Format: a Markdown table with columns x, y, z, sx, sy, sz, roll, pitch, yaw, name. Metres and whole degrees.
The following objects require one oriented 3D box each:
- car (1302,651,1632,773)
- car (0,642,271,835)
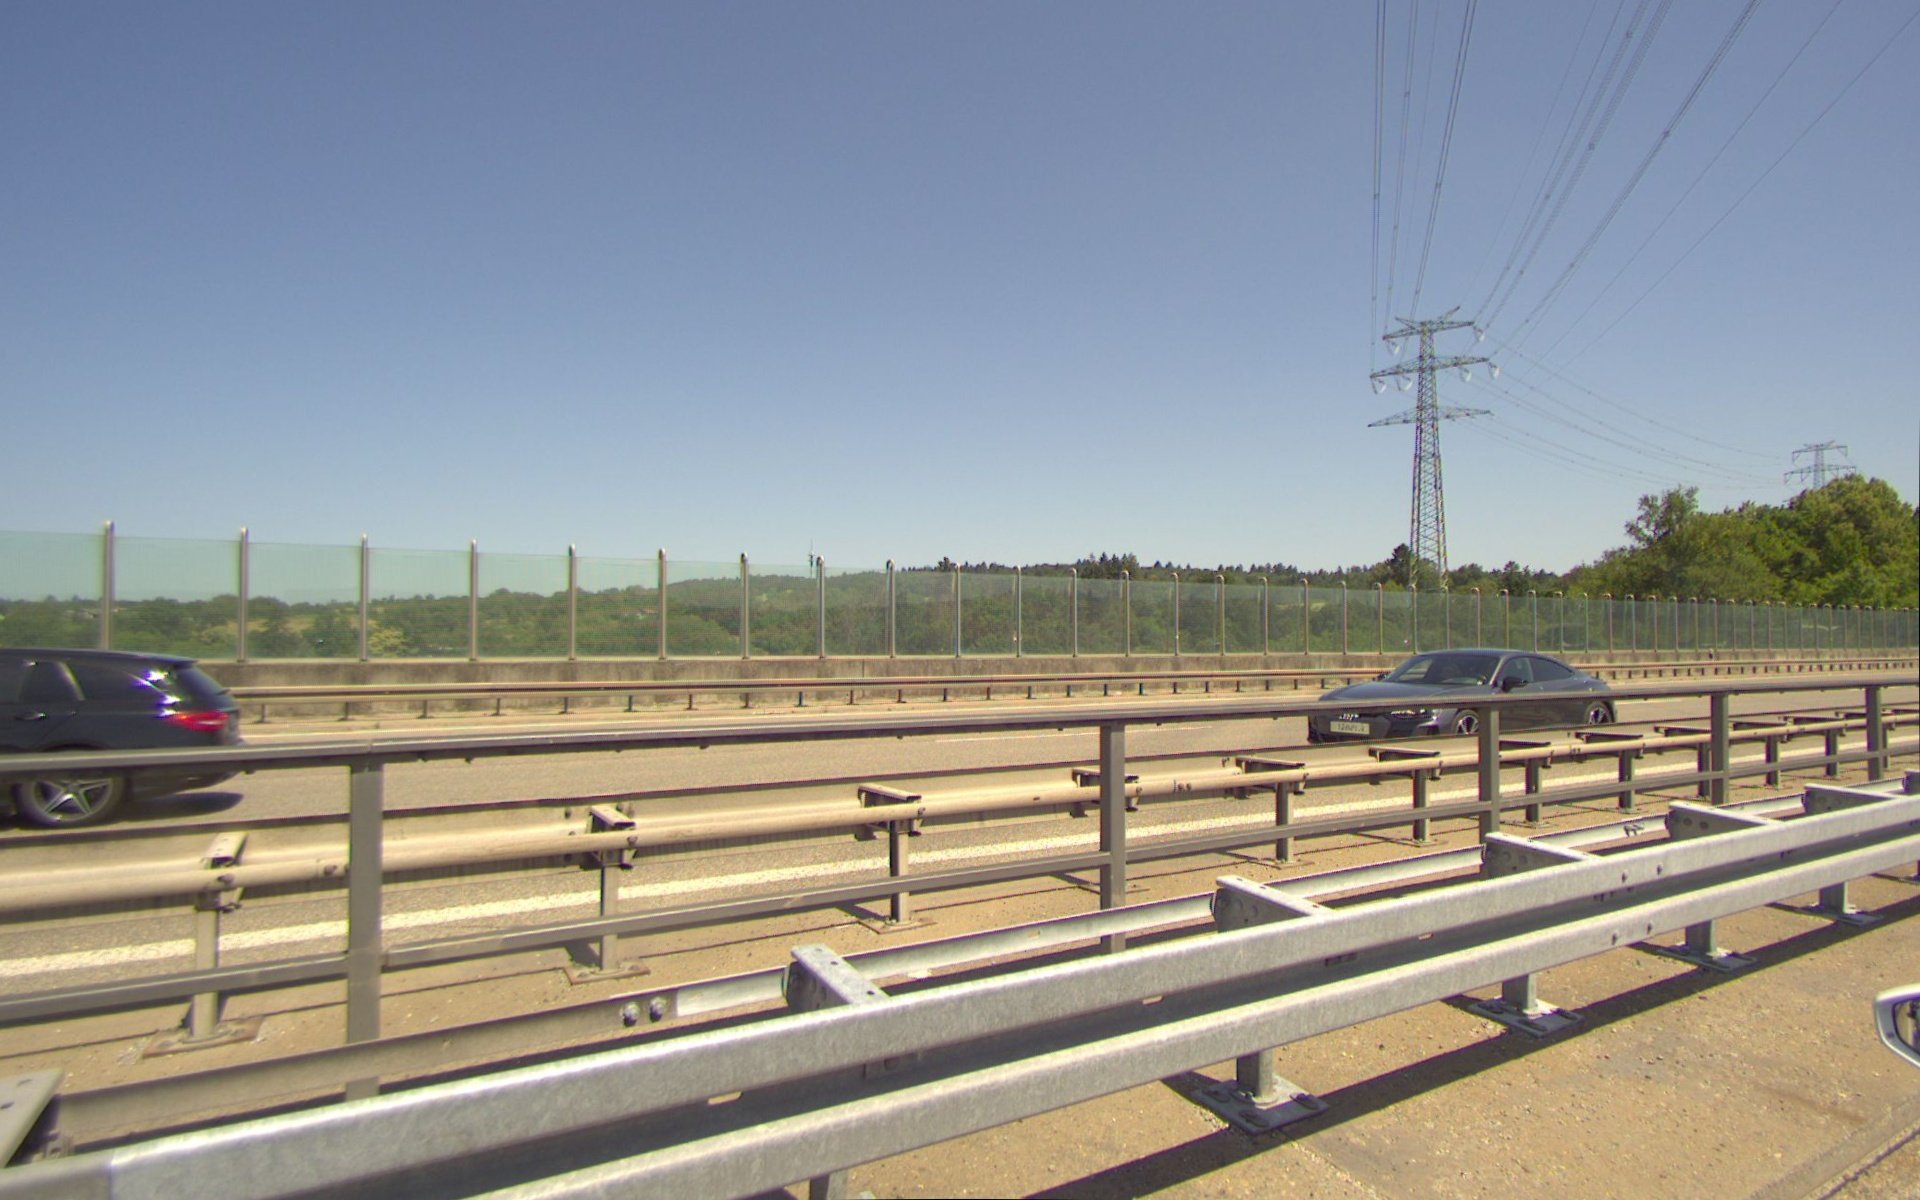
| x | y | z | sx | sy | sz | roll | pitch | yaw | name |
| --- | --- | --- | --- | --- | --- | --- | --- | --- | --- |
| 6.739 | 1.363 | 13.270 | 4.321 | 1.332 | 1.887 | 2 | -2 | -31 | car |
| -8.343 | 1.087 | 8.277 | 4.214 | 1.404 | 1.792 | 2 | 0 | -31 | car |
